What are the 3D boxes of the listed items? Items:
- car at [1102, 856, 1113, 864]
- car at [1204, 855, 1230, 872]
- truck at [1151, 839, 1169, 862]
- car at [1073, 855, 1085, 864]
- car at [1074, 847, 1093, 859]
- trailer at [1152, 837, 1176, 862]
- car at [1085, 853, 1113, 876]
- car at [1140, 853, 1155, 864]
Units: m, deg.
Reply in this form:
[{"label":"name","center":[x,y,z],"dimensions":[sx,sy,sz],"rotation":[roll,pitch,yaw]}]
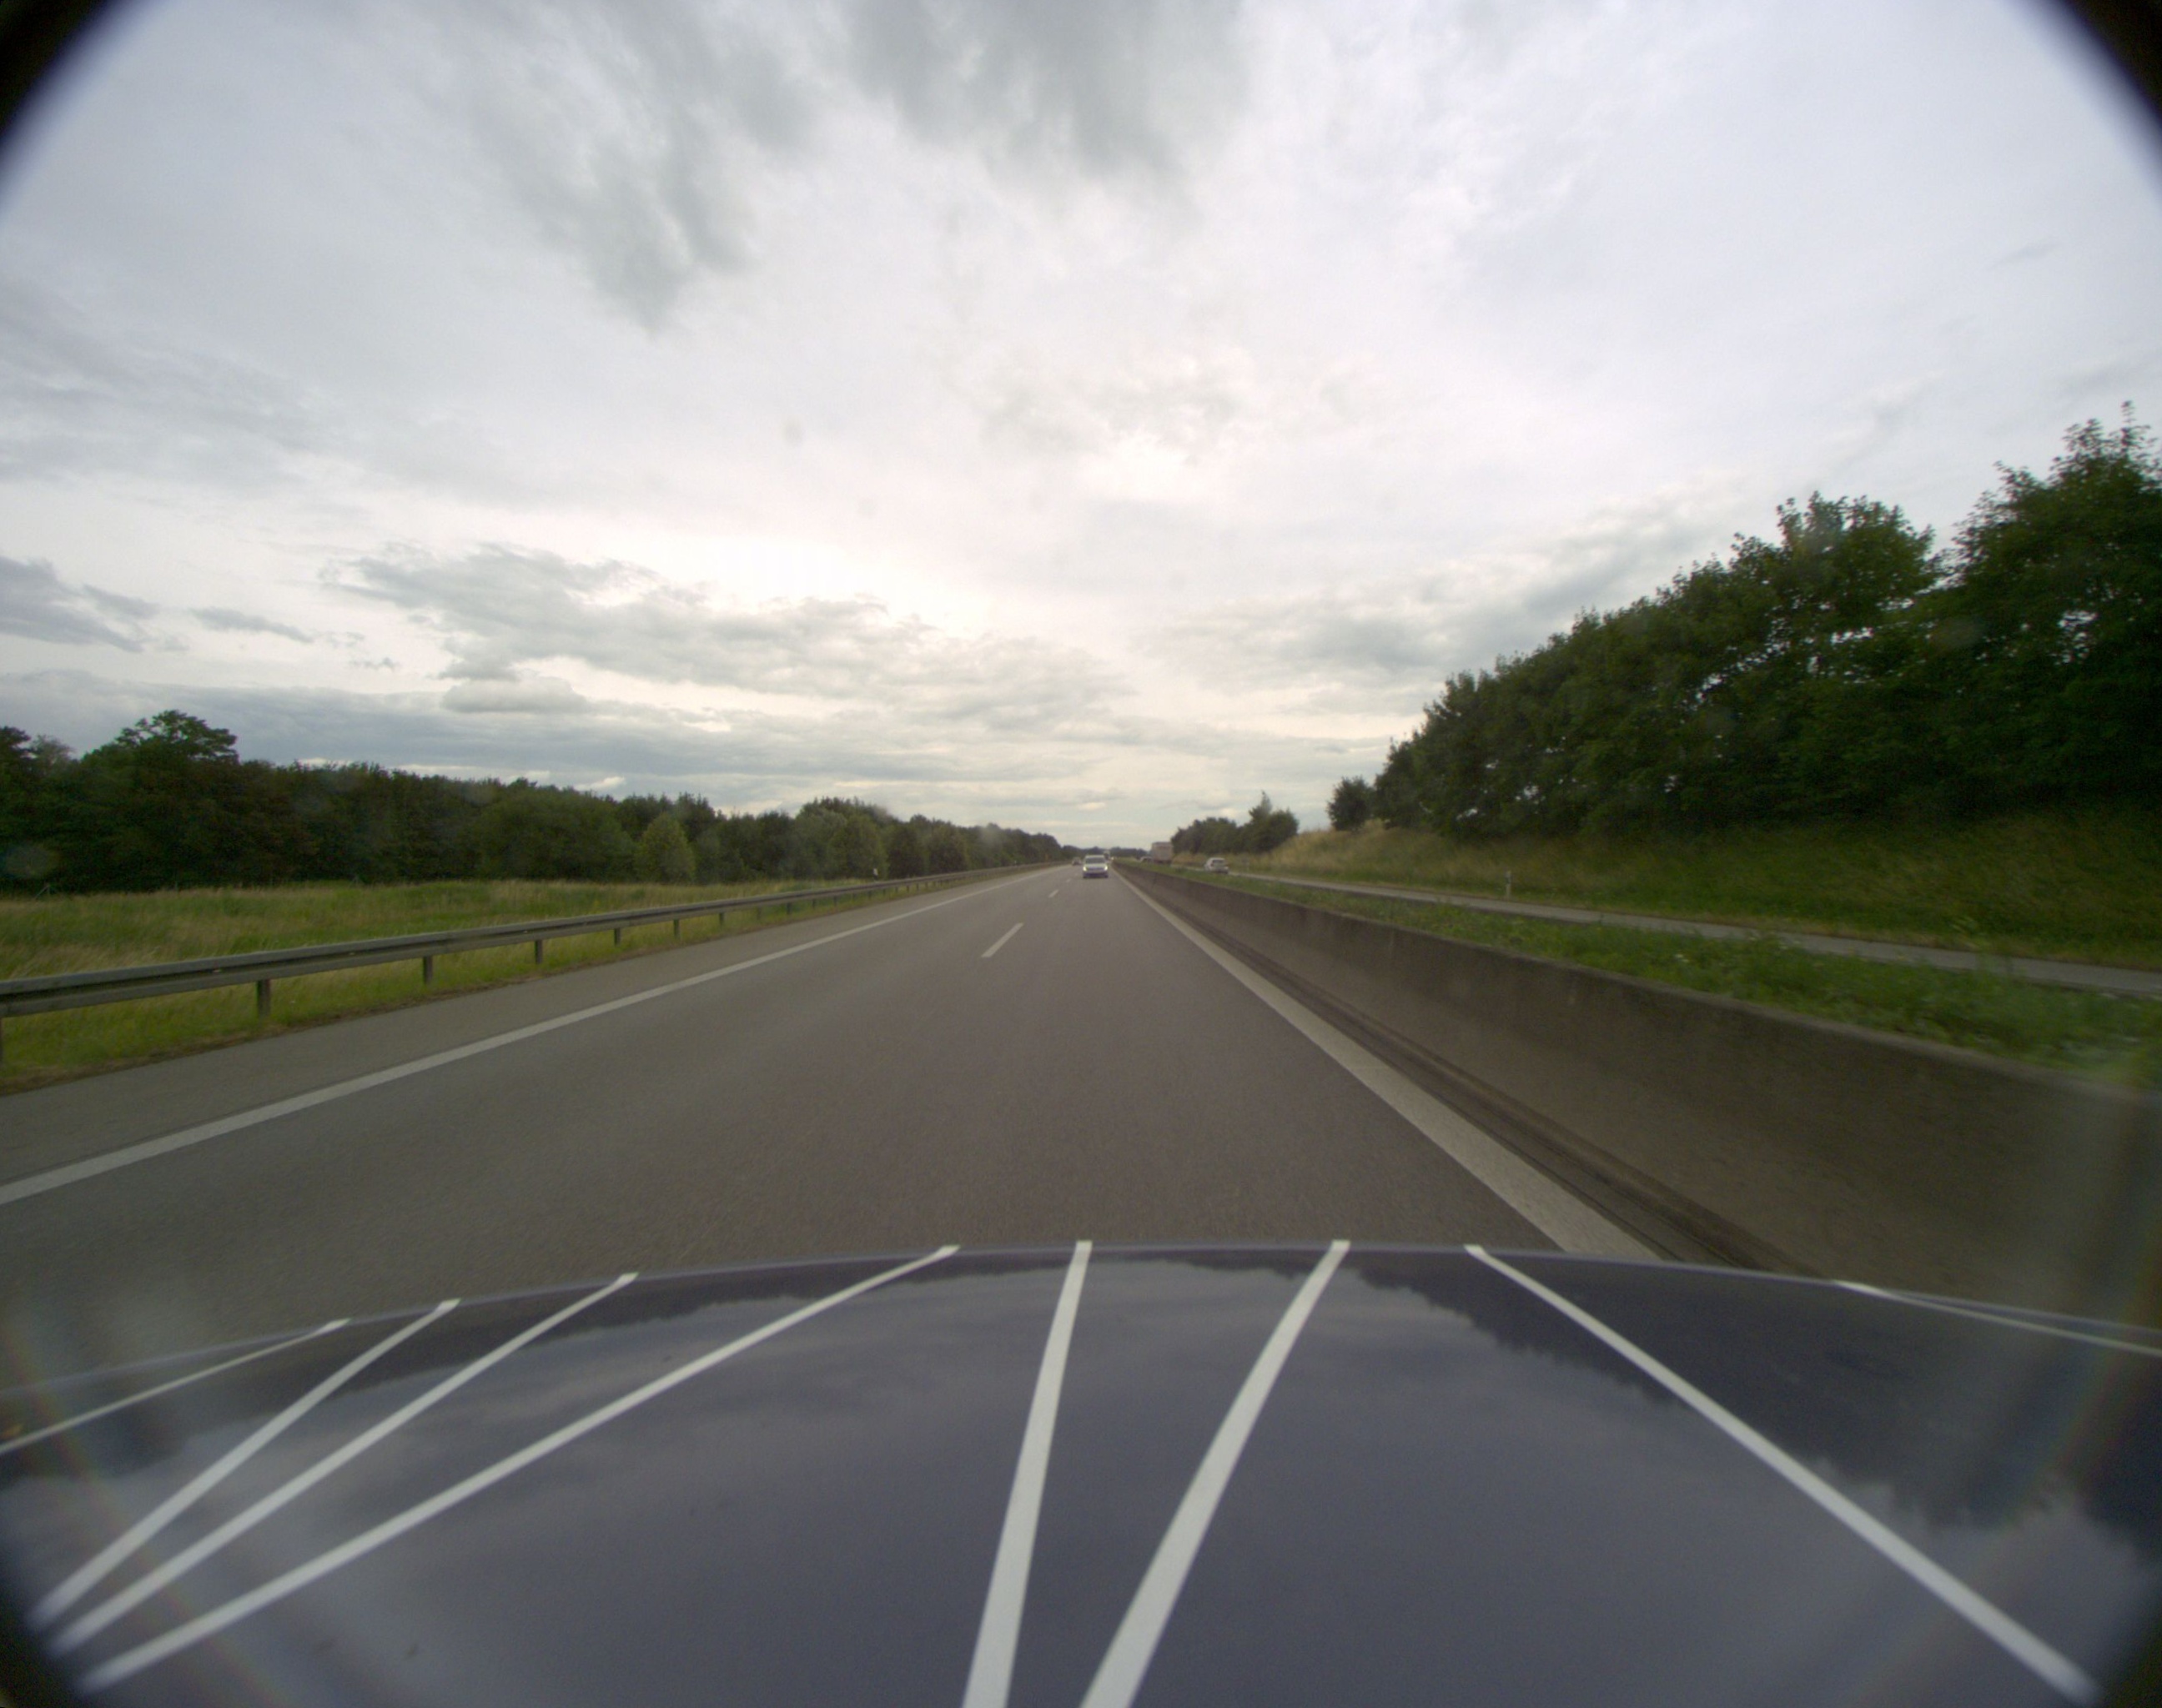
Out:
[{"label":"car","center":[5.570,1.246,160.413],"dimensions":[1.915,1.553,4.290],"rotation":[-1,0,5]},{"label":"car","center":[11.949,0.816,66.956],"dimensions":[1.650,1.401,3.888],"rotation":[1,0,0]},{"label":"truck","center":[14.470,-0.609,139.193],"dimensions":[2.713,4.064,5.165],"rotation":[1,0,1]},{"label":"car","center":[-0.337,0.969,143.564],"dimensions":[1.915,1.553,4.290],"rotation":[-1,0,5]},{"label":"car","center":[0.332,-0.144,96.793],"dimensions":[1.915,1.553,4.290],"rotation":[-1,0,5]},{"label":"trailer","center":[14.283,-0.639,132.048],"dimensions":[2.713,4.064,14.598],"rotation":[1,0,1]},{"label":"car","center":[1.240,0.735,54.445],"dimensions":[1.916,1.553,4.288],"rotation":[-1,0,1]},{"label":"car","center":[9.543,0.638,109.620],"dimensions":[1.852,1.370,4.600],"rotation":[1,0,1]}]
